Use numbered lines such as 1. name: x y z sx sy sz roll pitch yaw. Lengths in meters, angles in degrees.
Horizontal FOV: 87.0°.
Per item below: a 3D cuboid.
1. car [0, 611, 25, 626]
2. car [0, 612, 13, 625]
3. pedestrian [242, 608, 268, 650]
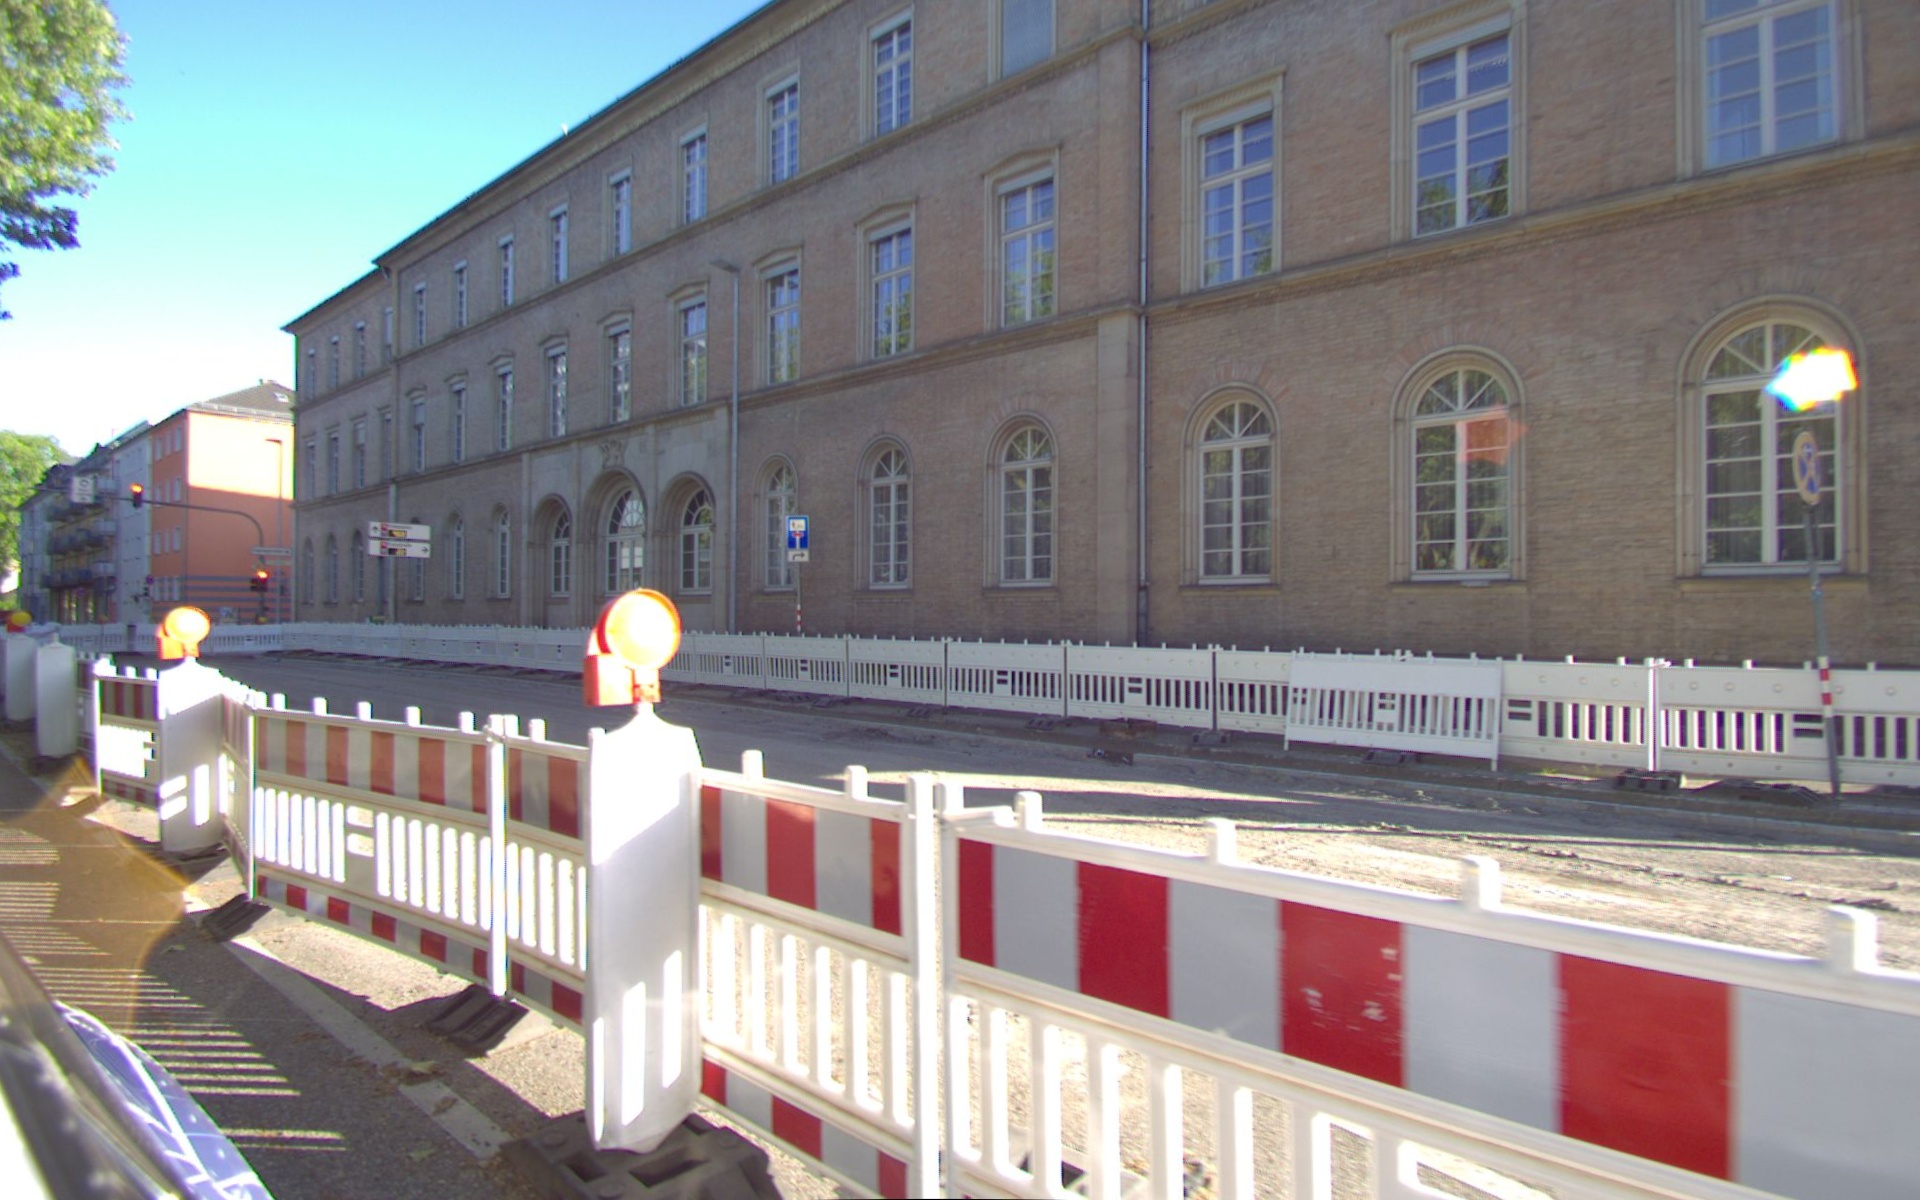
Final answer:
1. car: -111.042 2.103 117.190 1.833 1.712 3.943 -1 -2 43
2. car: -129.062 2.416 134.970 1.833 1.712 3.943 -1 -2 43
3. pedestrian: -30.439 1.257 43.673 0.870 1.785 0.749 1 -2 -38
